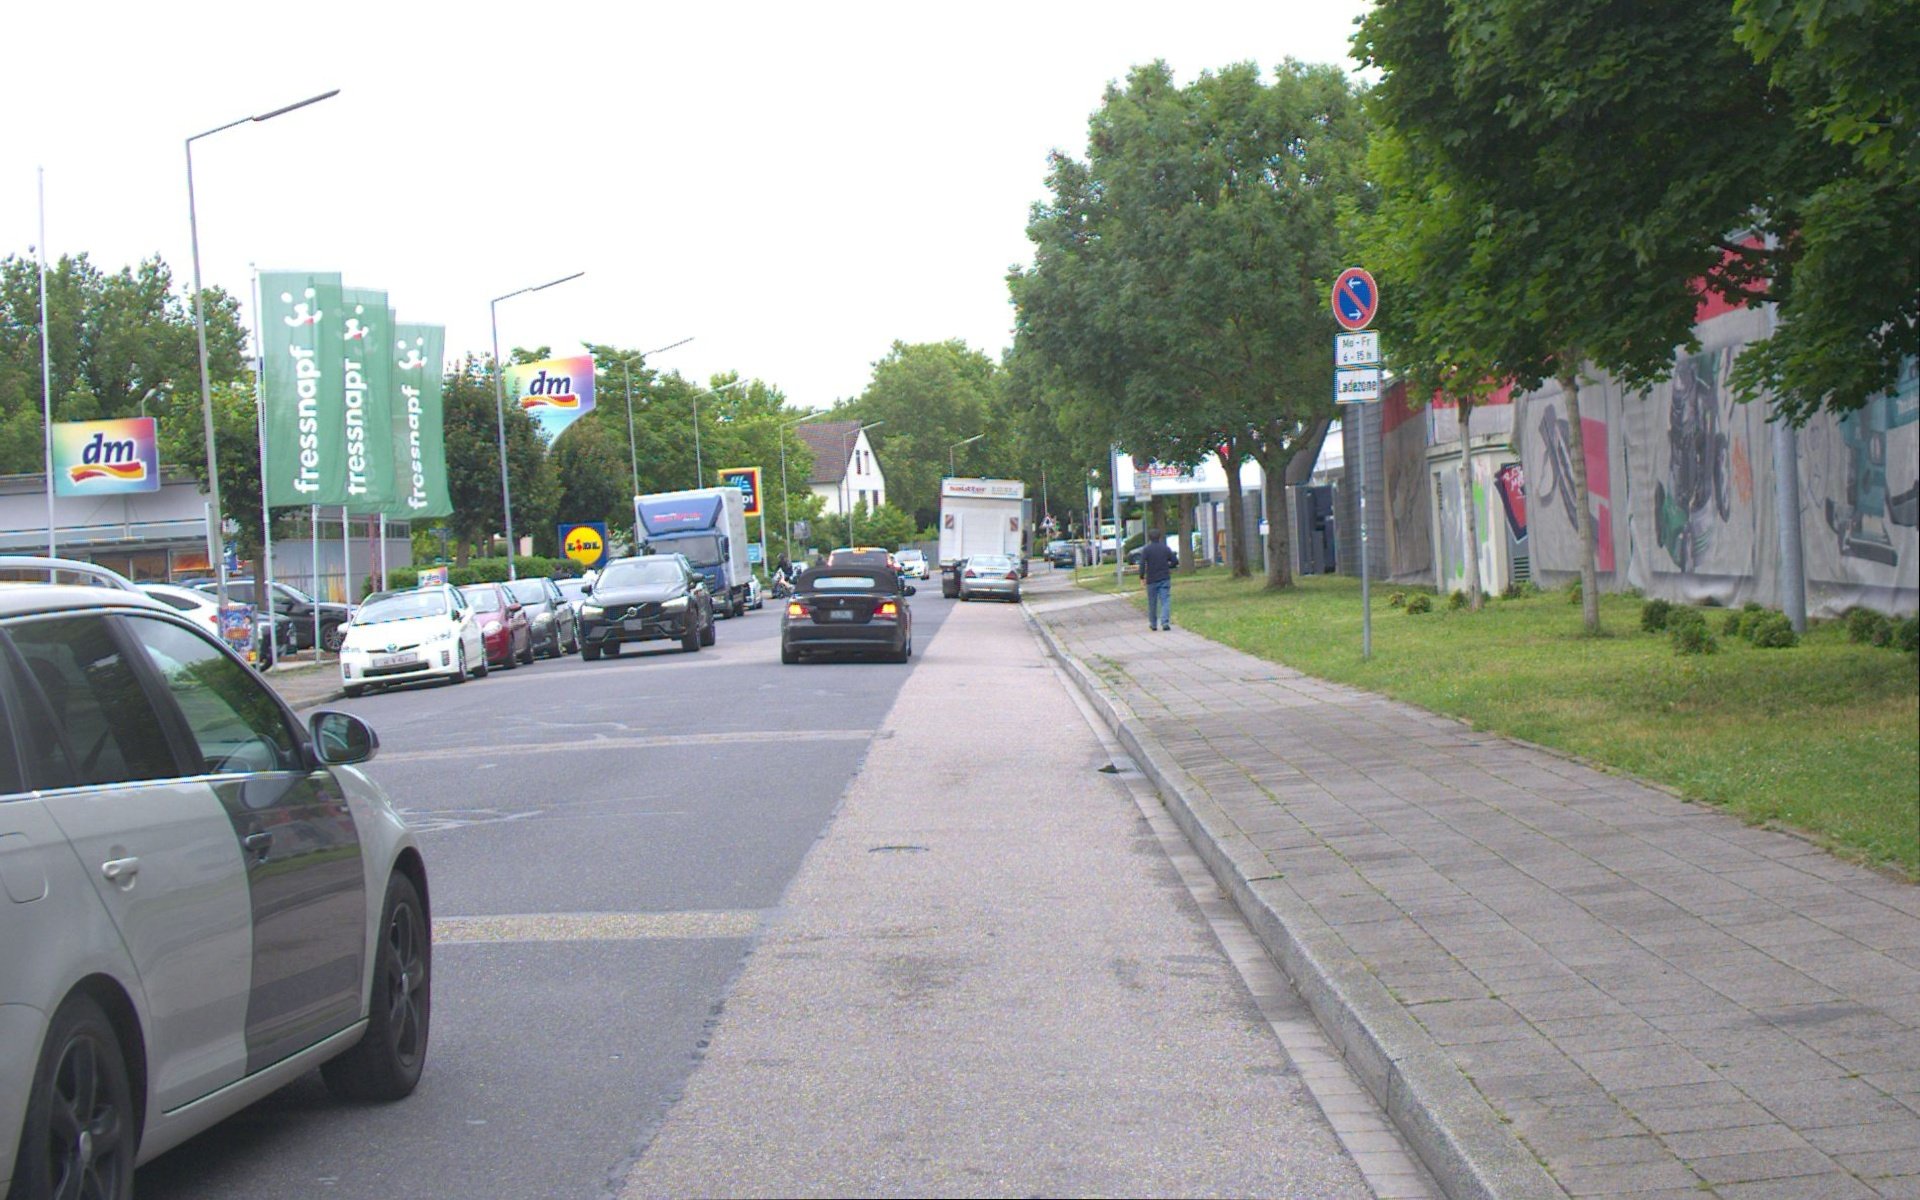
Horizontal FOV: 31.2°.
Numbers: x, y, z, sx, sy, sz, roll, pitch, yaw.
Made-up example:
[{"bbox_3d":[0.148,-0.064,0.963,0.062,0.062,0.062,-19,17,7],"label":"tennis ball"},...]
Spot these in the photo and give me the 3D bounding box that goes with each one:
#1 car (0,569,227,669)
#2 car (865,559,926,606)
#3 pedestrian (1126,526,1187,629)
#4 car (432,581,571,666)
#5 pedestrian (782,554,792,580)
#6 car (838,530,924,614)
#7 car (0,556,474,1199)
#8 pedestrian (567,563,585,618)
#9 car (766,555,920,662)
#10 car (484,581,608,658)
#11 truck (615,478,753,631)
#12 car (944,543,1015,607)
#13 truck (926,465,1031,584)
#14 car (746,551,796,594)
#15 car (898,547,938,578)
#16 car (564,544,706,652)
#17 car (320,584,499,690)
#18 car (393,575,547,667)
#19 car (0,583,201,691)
[{"bbox_3d":[-14.727,0.334,58.450,4.135,1.458,1.899,-3,1,-4],"label":"car"},{"bbox_3d":[-2.204,-0.627,117.921,1.886,1.526,4.254,-1,1,1],"label":"car"},{"bbox_3d":[3.180,-0.371,55.675,0.919,1.629,0.852,-2,0,3],"label":"pedestrian"},{"bbox_3d":[-8.396,0.411,63.286,1.898,1.362,4.000,-3,1,1],"label":"car"},{"bbox_3d":[-6.484,-1.251,129.033,0.250,0.972,0.343,-2,0,13],"label":"pedestrian"},{"bbox_3d":[-1.681,-0.591,72.287,1.681,1.626,3.759,-3,1,-2],"label":"car"},{"bbox_3d":[-2.493,0.674,7.763,1.753,1.446,4.296,-2,1,6],"label":"car"},{"bbox_3d":[-10.720,-0.272,95.894,0.401,1.526,0.485,-4,1,-5],"label":"pedestrian"},{"bbox_3d":[-1.606,0.099,48.490,1.745,1.354,4.137,-3,0,3],"label":"car"},{"bbox_3d":[-8.290,0.377,69.164,1.898,1.362,4.000,-3,1,1],"label":"car"},{"bbox_3d":[-7.706,-1.293,96.828,2.974,3.942,6.404,-5,1,1],"label":"truck"},{"bbox_3d":[0.564,-0.739,101.844,1.993,1.800,4.000,-2,0,-1],"label":"car"},{"bbox_3d":[0.518,-2.367,111.073,3.135,3.572,10.051,-2,0,-1],"label":"truck"},{"bbox_3d":[-7.155,-1.032,130.520,1.705,1.541,3.621,-2,0,-1],"label":"car"},{"bbox_3d":[-2.146,-1.935,176.849,1.886,1.526,4.254,-1,1,1],"label":"car"},{"bbox_3d":[-5.408,-0.041,57.607,1.993,1.678,4.000,-2,0,-1],"label":"car"},{"bbox_3d":[-8.150,0.524,51.194,1.898,1.362,4.000,-4,1,1],"label":"car"},{"bbox_3d":[-8.202,0.328,57.840,1.898,1.362,4.000,-3,1,1],"label":"car"},{"bbox_3d":[-14.106,0.603,53.509,4.202,1.458,1.953,-4,1,-7],"label":"car"}]
